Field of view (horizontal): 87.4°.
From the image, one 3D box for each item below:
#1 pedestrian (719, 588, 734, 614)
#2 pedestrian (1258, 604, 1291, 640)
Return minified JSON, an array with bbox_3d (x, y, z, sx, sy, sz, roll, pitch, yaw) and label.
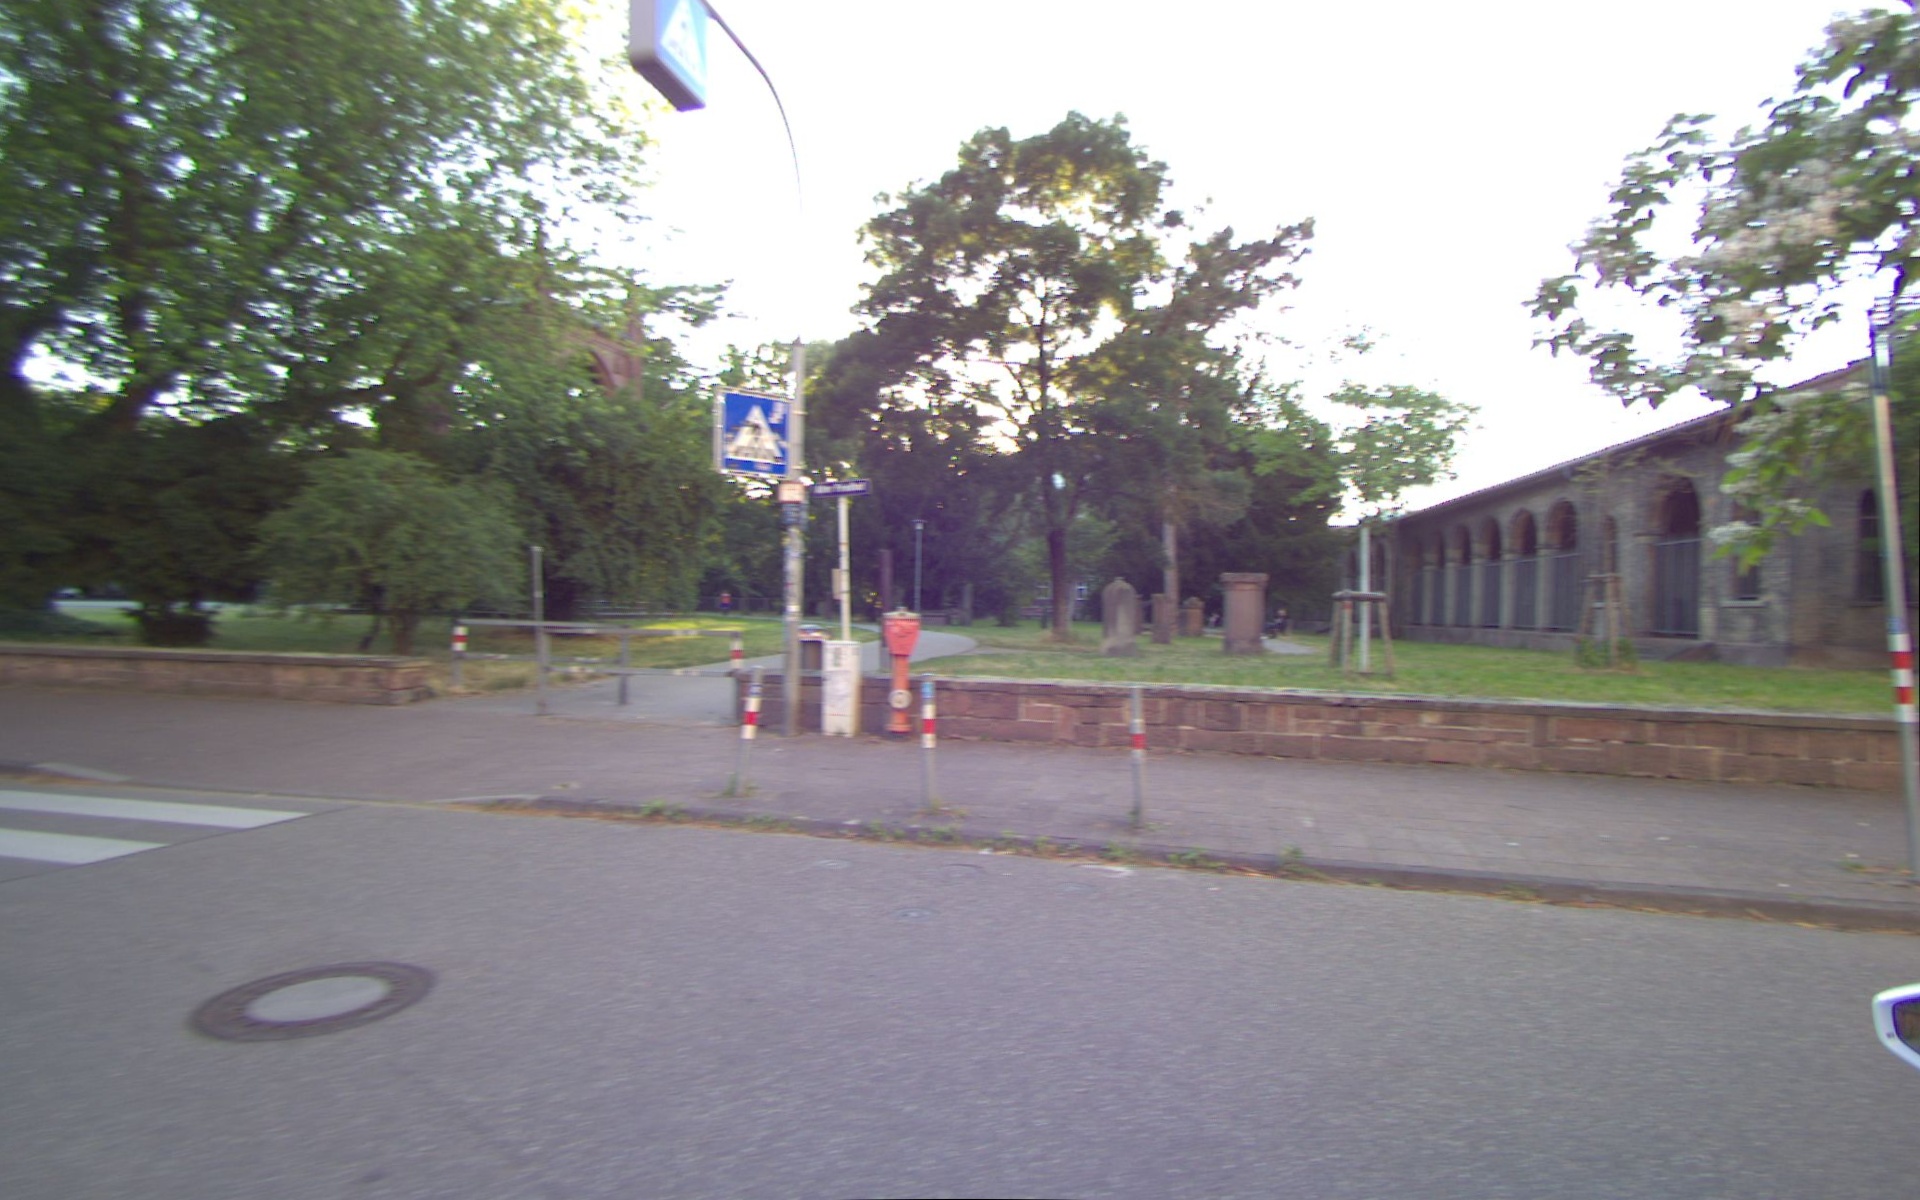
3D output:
[{"bbox_3d":[-15.357,0.045,66.077,0.655,1.691,0.666,2,0,32],"label":"pedestrian"},{"bbox_3d":[13.074,0.898,41.715,1.256,1.445,1.237,0,-1,21],"label":"pedestrian"}]
